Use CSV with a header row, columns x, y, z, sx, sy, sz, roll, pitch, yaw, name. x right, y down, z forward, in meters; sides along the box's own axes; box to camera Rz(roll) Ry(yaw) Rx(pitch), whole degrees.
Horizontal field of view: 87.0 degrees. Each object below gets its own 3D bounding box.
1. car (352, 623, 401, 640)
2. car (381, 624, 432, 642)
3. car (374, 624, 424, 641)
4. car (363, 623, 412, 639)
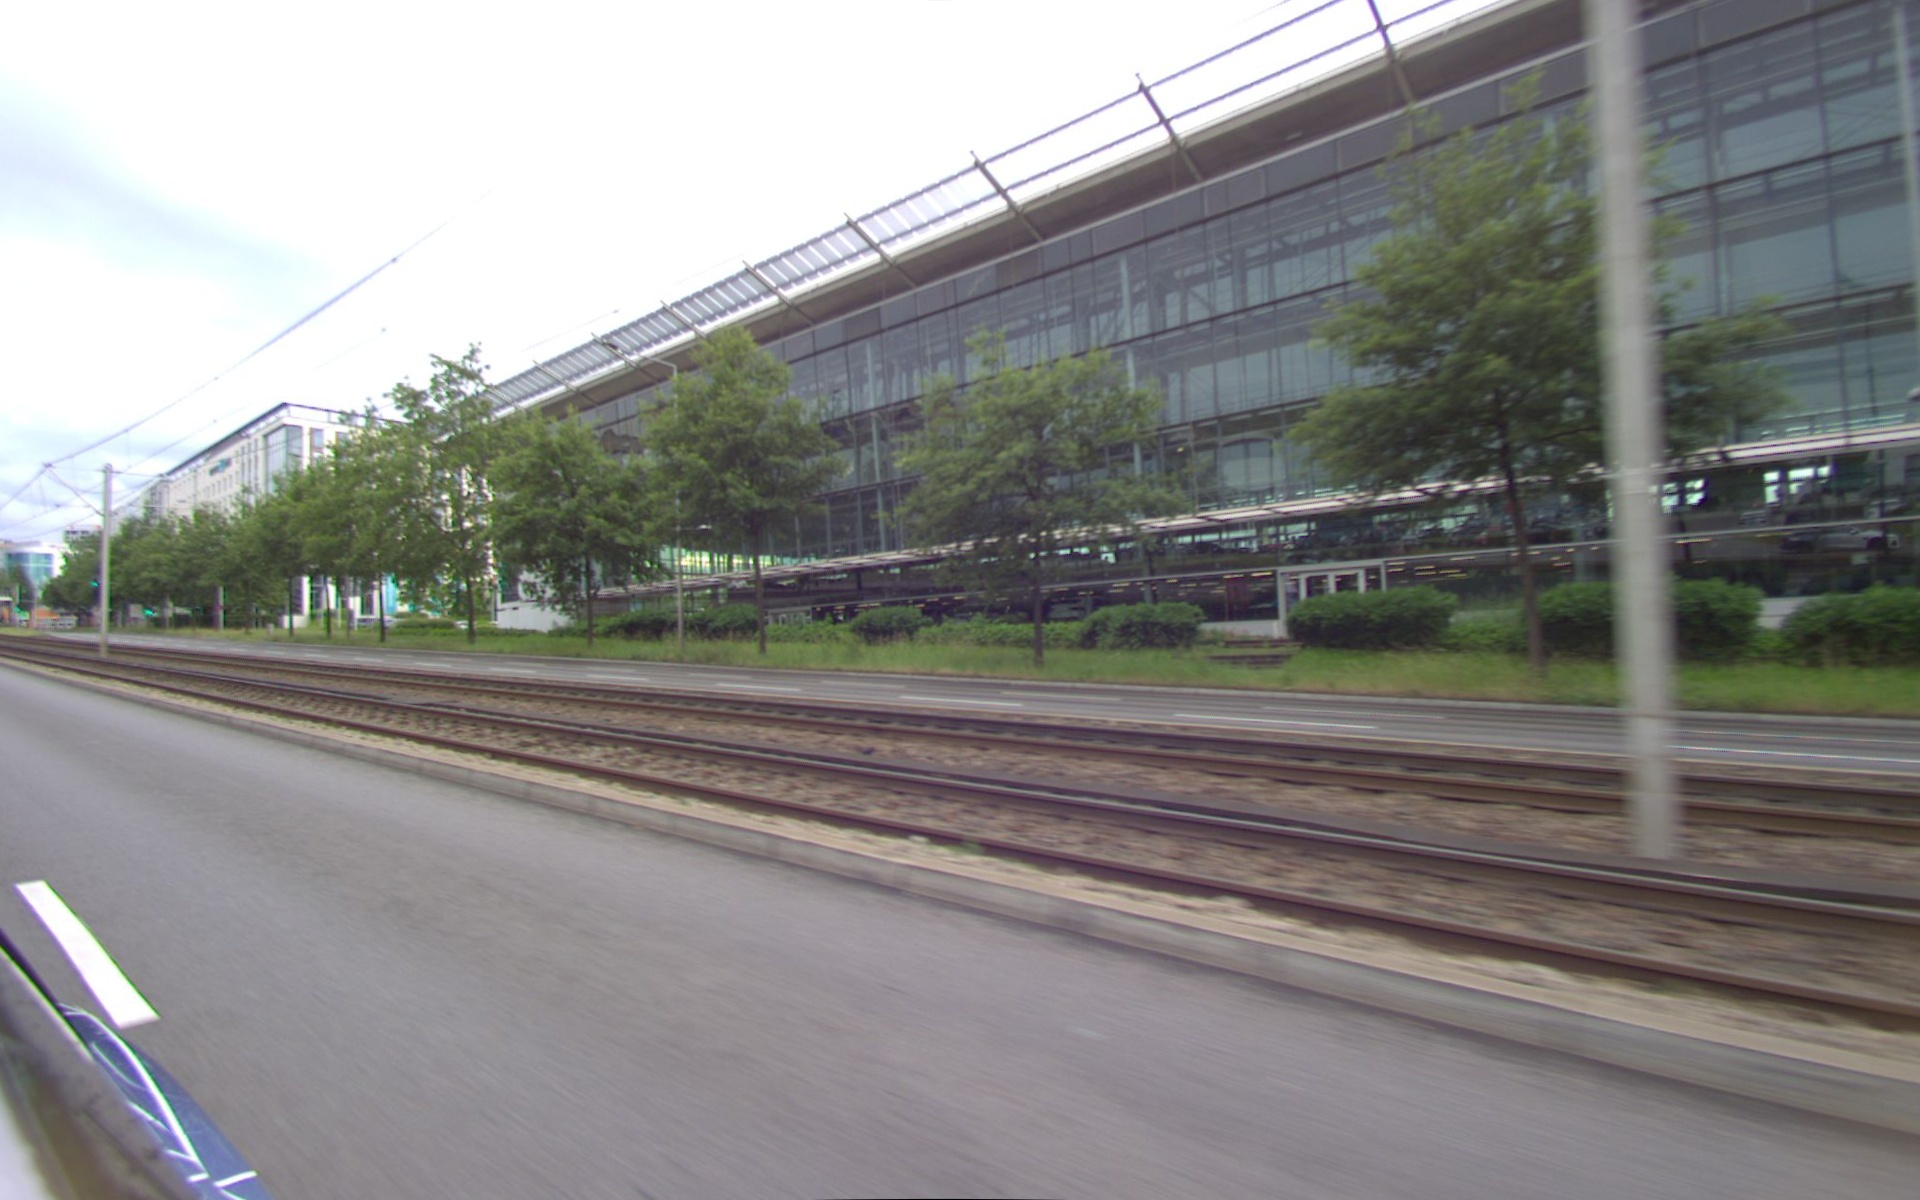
x,y,z,sx,sy,sz,roll,pitch,yaw,name
-57.556,3.098,99.928,3.931,1.401,1.809,-1,1,-22,car
-50.907,3.028,93.121,3.931,1.401,1.809,-1,1,-22,car
-53.024,3.060,95.657,3.931,1.401,1.809,-1,1,-22,car
-55.275,2.977,97.776,3.931,1.401,1.770,-1,1,-22,car
